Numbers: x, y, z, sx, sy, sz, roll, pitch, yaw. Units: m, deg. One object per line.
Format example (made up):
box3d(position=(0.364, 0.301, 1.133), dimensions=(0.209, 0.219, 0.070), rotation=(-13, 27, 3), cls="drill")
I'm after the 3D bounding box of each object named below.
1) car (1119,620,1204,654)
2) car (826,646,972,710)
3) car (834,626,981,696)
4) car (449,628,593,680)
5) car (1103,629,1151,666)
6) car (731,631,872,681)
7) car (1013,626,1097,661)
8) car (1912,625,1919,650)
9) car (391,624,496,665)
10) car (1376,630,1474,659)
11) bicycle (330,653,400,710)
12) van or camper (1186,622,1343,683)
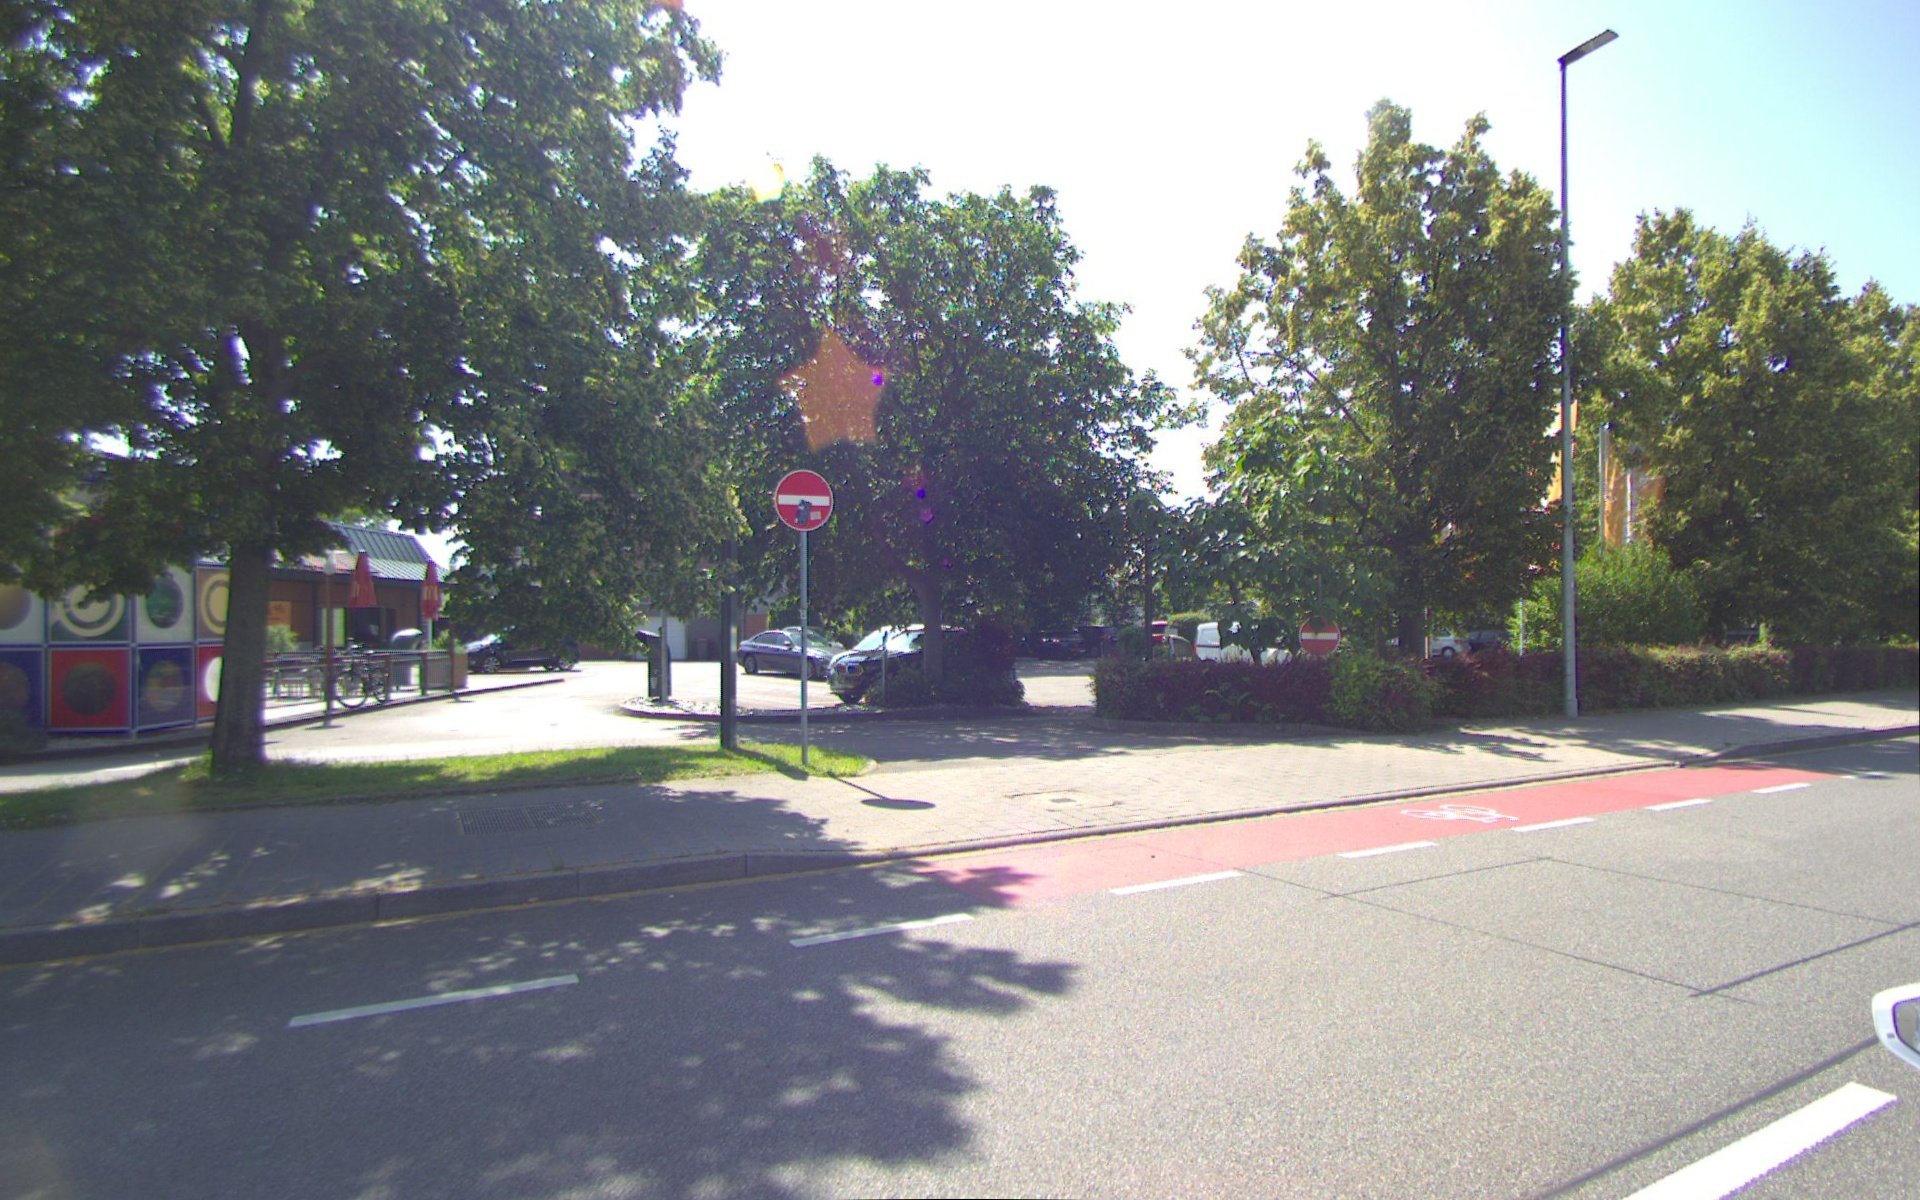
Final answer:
box3d(position=(10.045, 1.834, 50.250), dimensions=(1.785, 1.619, 3.952), rotation=(1, -2, -41), cls="car")
box3d(position=(-1.336, 1.762, 23.576), dimensions=(1.579, 1.303, 3.994), rotation=(-1, -2, 28), cls="car")
box3d(position=(-1.349, 1.590, 27.371), dimensions=(1.691, 1.758, 4.232), rotation=(-2, -2, 37), cls="car")
box3d(position=(-15.408, 1.858, 35.419), dimensions=(4.321, 1.707, 1.751), rotation=(1, -2, -45), cls="car")
box3d(position=(7.212, 2.046, 43.674), dimensions=(1.472, 1.546, 3.433), rotation=(0, -2, -1), cls="car")
box3d(position=(-5.066, 1.742, 31.910), dimensions=(4.323, 1.457, 1.993), rotation=(-2, -2, 37), cls="car")
box3d(position=(4.625, 2.099, 49.080), dimensions=(1.785, 1.619, 3.952), rotation=(1, -2, -41), cls="car")
box3d(position=(74.115, 2.819, 75.720), dimensions=(1.960, 1.929, 4.001), rotation=(0, -2, 19), cls="car")
box3d(position=(-28.355, 2.421, 55.299), dimensions=(4.715, 2.206, 1.998), rotation=(0, -2, -8), cls="car")
box3d(position=(24.137, 2.282, 52.220), dimensions=(4.225, 1.457, 1.989), rotation=(-2, -2, 43), cls="car")
box3d(position=(-11.595, 1.567, 19.629), dimensions=(0.302, 1.005, 1.859), rotation=(0, -2, -1), cls="bicycle")
box3d(position=(9.409, 1.580, 31.239), dimensions=(4.225, 1.763, 1.989), rotation=(-2, -2, 43), cls="van or camper")
